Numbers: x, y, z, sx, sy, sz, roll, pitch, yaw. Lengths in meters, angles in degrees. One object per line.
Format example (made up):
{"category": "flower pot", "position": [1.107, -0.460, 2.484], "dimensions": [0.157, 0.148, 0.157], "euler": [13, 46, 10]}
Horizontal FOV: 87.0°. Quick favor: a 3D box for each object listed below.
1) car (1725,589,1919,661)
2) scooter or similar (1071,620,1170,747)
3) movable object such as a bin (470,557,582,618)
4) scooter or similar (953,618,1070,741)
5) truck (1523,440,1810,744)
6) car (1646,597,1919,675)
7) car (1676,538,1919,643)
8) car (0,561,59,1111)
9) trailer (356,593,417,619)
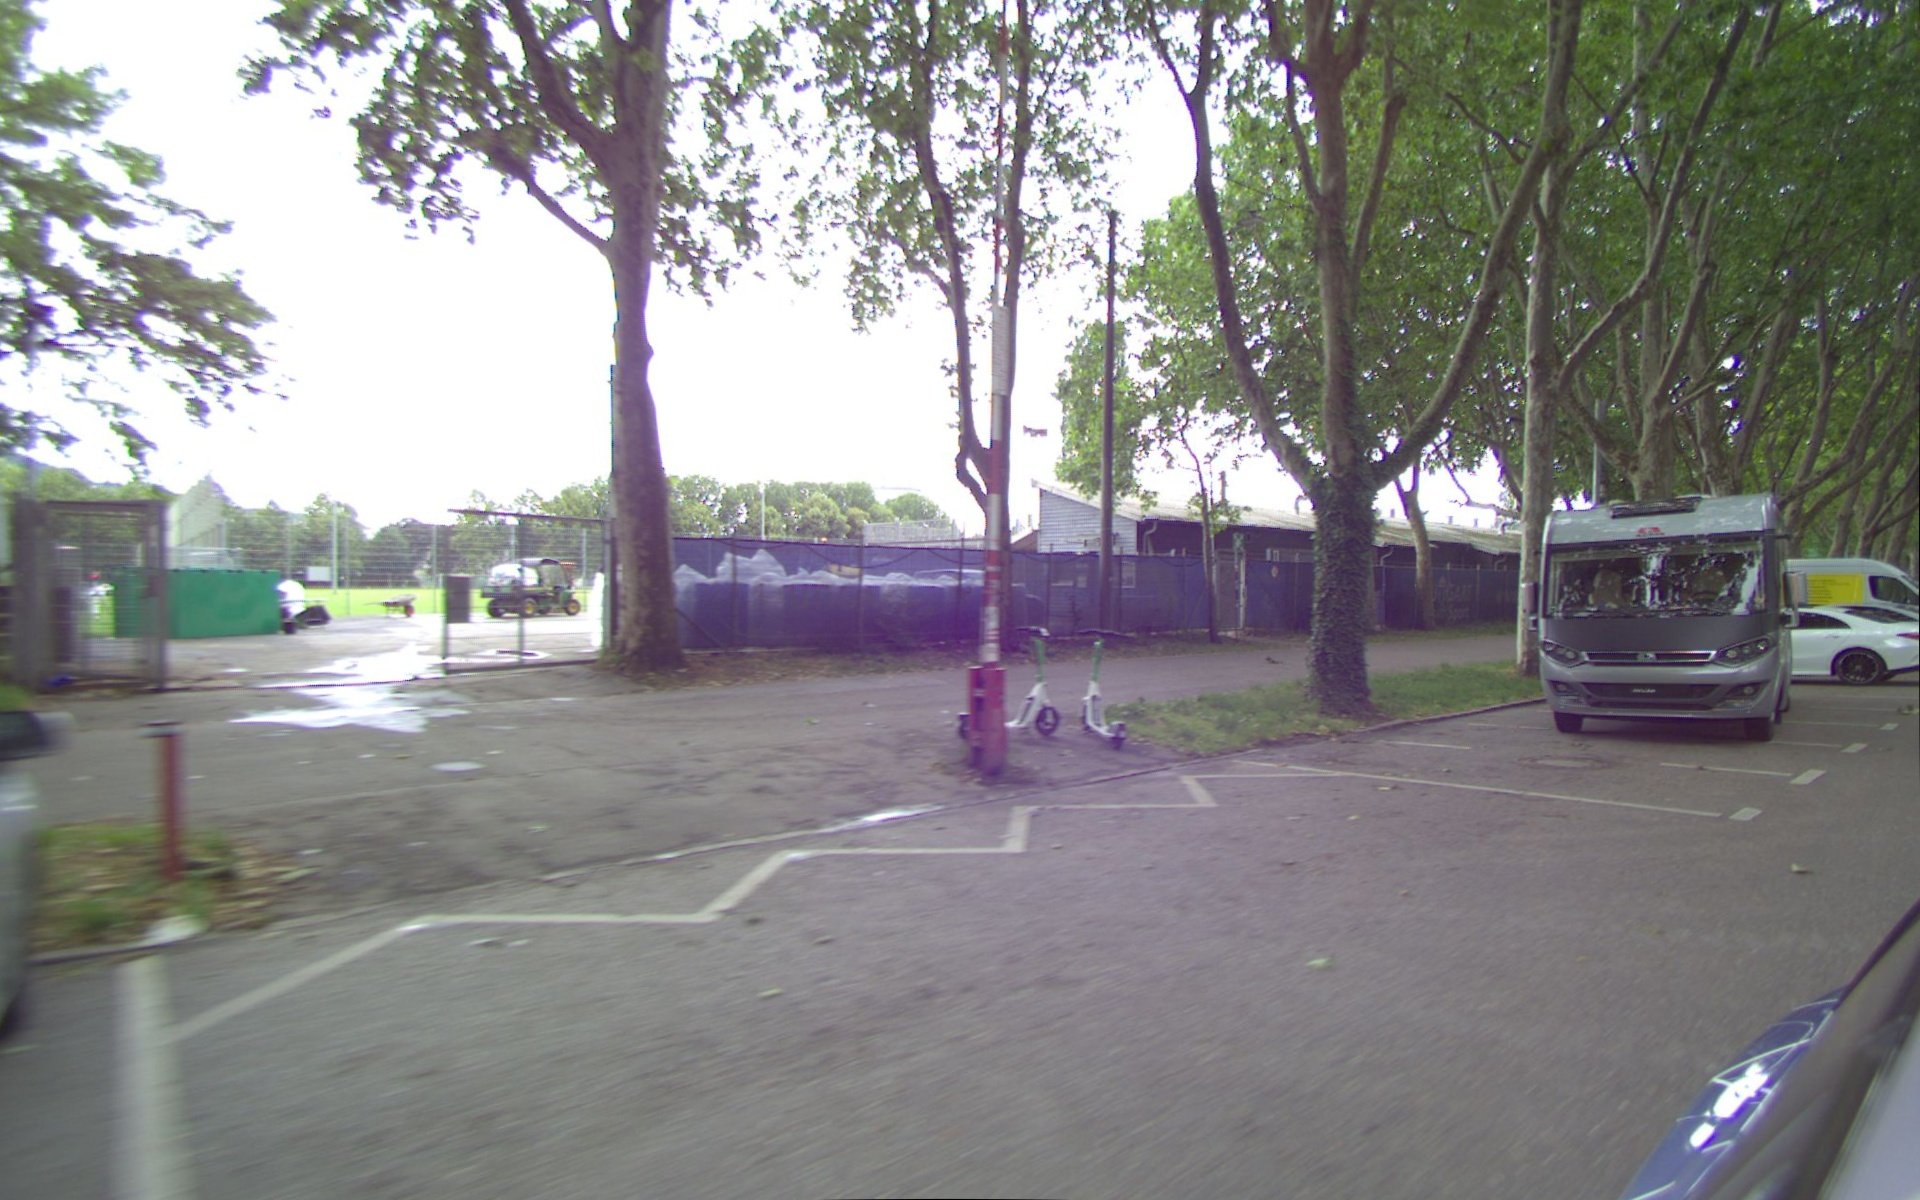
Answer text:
{"category": "car", "position": [19.554, 0.512, 22.111], "dimensions": [4.359, 1.464, 1.586], "euler": [0, 0, 45]}
{"category": "scooter or similar", "position": [1.683, 0.856, 10.803], "dimensions": [0.589, 1.140, 1.278], "euler": [3, 4, -10]}
{"category": "movable object such as a bin", "position": [-13.395, -0.380, 31.344], "dimensions": [1.632, 1.789, 2.812], "euler": [-1, 0, 28]}
{"category": "scooter or similar", "position": [0.554, 0.803, 10.641], "dimensions": [1.249, 1.199, 0.387], "euler": [-1, 0, -35]}
{"category": "truck", "position": [9.752, -0.111, 13.562], "dimensions": [2.455, 2.975, 7.428], "euler": [-1, 0, 40]}
{"category": "car", "position": [15.768, 0.611, 19.145], "dimensions": [1.670, 1.318, 4.328], "euler": [-1, 0, -40]}
{"category": "car", "position": [24.317, -0.249, 28.208], "dimensions": [2.093, 2.729, 6.882], "euler": [0, 0, -45]}
{"category": "car", "position": [-3.311, 0.703, 2.143], "dimensions": [1.770, 1.638, 4.350], "euler": [-1, -1, -37]}
{"category": "trailer", "position": [-16.461, 0.171, 28.993], "dimensions": [1.186, 0.699, 2.879], "euler": [-1, 0, -36]}
